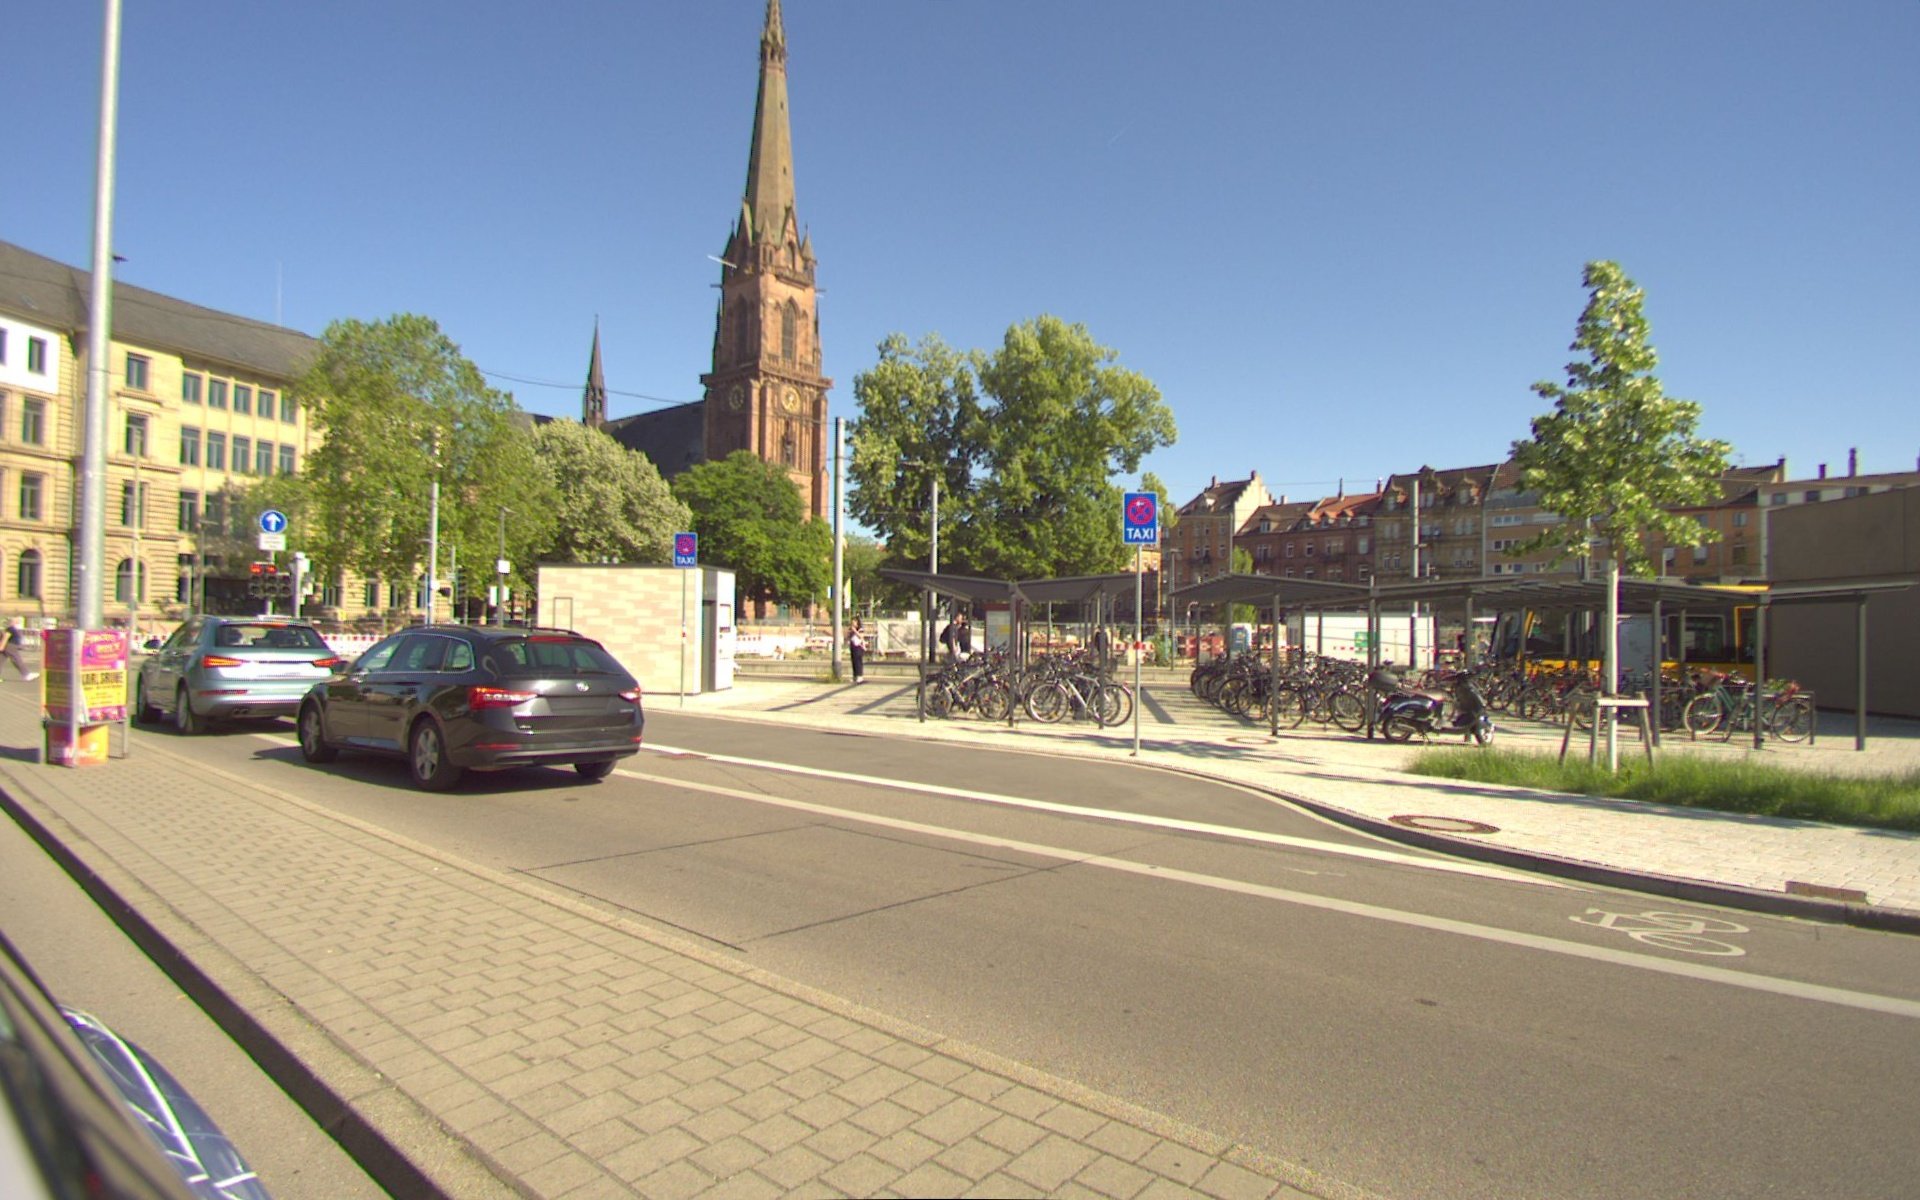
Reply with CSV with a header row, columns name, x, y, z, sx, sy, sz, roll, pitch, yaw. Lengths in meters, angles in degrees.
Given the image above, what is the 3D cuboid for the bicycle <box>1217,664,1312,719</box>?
name,x,y,z,sx,sy,sz,roll,pitch,yaw
bicycle,5.818,1.736,19.369,1.661,0.980,0.406,1,0,3

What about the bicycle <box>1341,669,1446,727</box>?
name,x,y,z,sx,sy,sz,roll,pitch,yaw
bicycle,7.647,1.724,17.885,1.661,0.980,0.406,-1,0,3

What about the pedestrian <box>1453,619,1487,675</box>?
name,x,y,z,sx,sy,sz,roll,pitch,yaw
pedestrian,17.772,1.619,35.294,0.793,1.931,0.769,0,-2,4

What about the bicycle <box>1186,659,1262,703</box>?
name,x,y,z,sx,sy,sz,roll,pitch,yaw
bicycle,6.141,1.880,23.617,1.661,0.980,0.406,1,-5,3

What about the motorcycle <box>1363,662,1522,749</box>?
name,x,y,z,sx,sy,sz,roll,pitch,yaw
motorcycle,7.197,1.569,15.153,2.059,1.228,0.569,-1,-2,3

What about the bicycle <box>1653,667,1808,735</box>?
name,x,y,z,sx,sy,sz,roll,pitch,yaw
bicycle,12.992,1.694,17.109,2.030,1.087,0.604,-1,0,7

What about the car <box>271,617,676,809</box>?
name,x,y,z,sx,sy,sz,roll,pitch,yaw
car,-5.085,0.992,10.251,4.779,1.516,1.795,-1,-4,39

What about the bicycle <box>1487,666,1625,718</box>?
name,x,y,z,sx,sy,sz,roll,pitch,yaw
bicycle,11.618,1.796,19.783,2.208,0.951,0.685,-1,0,7

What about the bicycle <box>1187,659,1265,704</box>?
name,x,y,z,sx,sy,sz,roll,pitch,yaw
bicycle,6.057,1.859,23.044,1.661,0.980,0.406,1,-5,3

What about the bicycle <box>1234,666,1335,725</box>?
name,x,y,z,sx,sy,sz,roll,pitch,yaw
bicycle,5.819,1.708,18.181,1.661,0.980,0.406,1,0,3

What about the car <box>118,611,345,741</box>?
name,x,y,z,sx,sy,sz,roll,pitch,yaw
car,-10.549,1.018,14.542,4.257,1.594,1.768,-1,-4,43

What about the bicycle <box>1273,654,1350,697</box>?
name,x,y,z,sx,sy,sz,roll,pitch,yaw
bicycle,8.295,1.783,23.908,1.661,0.980,0.406,-1,0,3

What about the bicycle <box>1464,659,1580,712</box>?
name,x,y,z,sx,sy,sz,roll,pitch,yaw
bicycle,11.780,1.793,21.258,2.048,1.045,0.533,-1,2,8

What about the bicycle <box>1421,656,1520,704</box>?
name,x,y,z,sx,sy,sz,roll,pitch,yaw
bicycle,12.304,1.917,24.422,2.048,1.045,0.533,1,3,8

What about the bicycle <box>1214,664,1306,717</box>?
name,x,y,z,sx,sy,sz,roll,pitch,yaw
bicycle,5.905,1.779,19.952,1.661,0.980,0.406,1,0,3

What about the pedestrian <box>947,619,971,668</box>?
name,x,y,z,sx,sy,sz,roll,pitch,yaw
pedestrian,-0.028,1.682,39.007,0.610,1.874,0.703,2,-2,-39

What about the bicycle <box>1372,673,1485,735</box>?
name,x,y,z,sx,sy,sz,roll,pitch,yaw
bicycle,7.771,1.722,16.814,1.661,0.980,0.406,-1,0,3

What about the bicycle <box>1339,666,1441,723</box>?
name,x,y,z,sx,sy,sz,roll,pitch,yaw
bicycle,7.827,1.721,18.453,1.661,0.980,0.406,-1,0,3

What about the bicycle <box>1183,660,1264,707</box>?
name,x,y,z,sx,sy,sz,roll,pitch,yaw
bicycle,5.790,1.836,22.289,1.661,0.980,0.406,1,-5,3

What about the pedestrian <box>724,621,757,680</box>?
name,x,y,z,sx,sy,sz,roll,pitch,yaw
pedestrian,-6.151,1.409,28.329,0.695,1.635,0.618,0,-2,12

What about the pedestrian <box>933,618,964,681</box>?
name,x,y,z,sx,sy,sz,roll,pitch,yaw
pedestrian,-0.315,1.391,28.521,0.823,1.740,0.620,0,-2,4

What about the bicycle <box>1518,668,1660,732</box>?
name,x,y,z,sx,sy,sz,roll,pitch,yaw
bicycle,10.935,1.737,17.638,2.048,1.045,0.533,-1,0,8

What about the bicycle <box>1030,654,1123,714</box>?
name,x,y,z,sx,sy,sz,roll,pitch,yaw
bicycle,2.239,1.619,19.576,1.755,1.083,0.406,1,0,6

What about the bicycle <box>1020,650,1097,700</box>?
name,x,y,z,sx,sy,sz,roll,pitch,yaw
bicycle,2.276,1.730,23.492,1.755,1.083,0.406,1,0,6

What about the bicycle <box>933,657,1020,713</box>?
name,x,y,z,sx,sy,sz,roll,pitch,yaw
bicycle,0.332,1.663,19.938,1.663,1.006,0.406,2,0,8

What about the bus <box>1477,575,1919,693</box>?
name,x,y,z,sx,sy,sz,roll,pitch,yaw
bus,22.298,0.932,28.600,13.462,3.095,2.859,0,-2,6

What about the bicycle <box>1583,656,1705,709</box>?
name,x,y,z,sx,sy,sz,roll,pitch,yaw
bicycle,14.082,1.694,20.870,2.048,1.045,0.533,-1,0,8

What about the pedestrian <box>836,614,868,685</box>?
name,x,y,z,sx,sy,sz,roll,pitch,yaw
pedestrian,-2.902,1.326,27.234,0.614,1.874,0.699,0,-2,14

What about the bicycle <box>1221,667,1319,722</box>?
name,x,y,z,sx,sy,sz,roll,pitch,yaw
bicycle,5.732,1.749,18.761,1.661,0.980,0.406,-1,0,3

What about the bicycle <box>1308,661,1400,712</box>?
name,x,y,z,sx,sy,sz,roll,pitch,yaw
bicycle,7.861,1.729,20.222,1.661,0.980,0.406,-1,0,3

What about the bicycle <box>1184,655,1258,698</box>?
name,x,y,z,sx,sy,sz,roll,pitch,yaw
bicycle,6.260,1.835,24.305,1.661,0.980,0.406,1,-5,3

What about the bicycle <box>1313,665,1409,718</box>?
name,x,y,z,sx,sy,sz,roll,pitch,yaw
bicycle,7.720,1.761,19.522,1.661,0.980,0.406,-1,0,3

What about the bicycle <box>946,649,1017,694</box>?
name,x,y,z,sx,sy,sz,roll,pitch,yaw
bicycle,0.521,1.701,24.181,1.663,1.006,0.406,0,0,8

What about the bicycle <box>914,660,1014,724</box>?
name,x,y,z,sx,sy,sz,roll,pitch,yaw
bicycle,0.071,1.573,17.376,1.663,1.006,0.406,2,0,8

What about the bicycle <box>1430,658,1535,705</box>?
name,x,y,z,sx,sy,sz,roll,pitch,yaw
bicycle,12.035,1.877,23.367,2.048,1.045,0.533,-1,-4,8

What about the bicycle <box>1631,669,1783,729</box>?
name,x,y,z,sx,sy,sz,roll,pitch,yaw
bicycle,13.483,1.783,18.323,2.117,1.005,0.690,-1,0,7

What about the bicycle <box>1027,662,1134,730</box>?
name,x,y,z,sx,sy,sz,roll,pitch,yaw
bicycle,2.026,1.605,17.086,1.753,1.083,0.406,1,-3,6

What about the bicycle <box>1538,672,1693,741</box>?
name,x,y,z,sx,sy,sz,roll,pitch,yaw
bicycle,10.576,1.709,16.382,2.048,1.045,0.533,-1,0,8

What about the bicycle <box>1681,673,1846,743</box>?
name,x,y,z,sx,sy,sz,roll,pitch,yaw
bicycle,12.771,1.713,16.131,2.048,1.045,0.533,-1,0,8

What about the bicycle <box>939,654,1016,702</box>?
name,x,y,z,sx,sy,sz,roll,pitch,yaw
bicycle,0.389,1.704,22.278,1.663,1.006,0.406,0,0,8

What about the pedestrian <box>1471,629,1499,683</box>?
name,x,y,z,sx,sy,sz,roll,pitch,yaw
pedestrian,20.096,2.127,38.768,0.793,2.029,0.535,0,-2,4

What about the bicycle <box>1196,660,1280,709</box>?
name,x,y,z,sx,sy,sz,roll,pitch,yaw
bicycle,5.929,1.804,21.633,1.661,0.980,0.406,1,-5,3

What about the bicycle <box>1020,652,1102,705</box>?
name,x,y,z,sx,sy,sz,roll,pitch,yaw
bicycle,2.197,1.693,22.022,1.755,1.083,0.406,1,0,6

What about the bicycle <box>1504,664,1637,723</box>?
name,x,y,z,sx,sy,sz,roll,pitch,yaw
bicycle,11.326,1.731,18.805,2.048,1.045,0.533,-1,0,8

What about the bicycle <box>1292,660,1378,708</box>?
name,x,y,z,sx,sy,sz,roll,pitch,yaw
bicycle,7.992,1.788,21.616,1.661,0.980,0.406,-1,0,3

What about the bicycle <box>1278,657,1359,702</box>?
name,x,y,z,sx,sy,sz,roll,pitch,yaw
bicycle,8.077,1.787,22.831,1.661,0.980,0.406,-1,0,3

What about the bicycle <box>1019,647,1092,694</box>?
name,x,y,z,sx,sy,sz,roll,pitch,yaw
bicycle,2.318,1.723,24.671,1.755,1.083,0.406,1,0,6

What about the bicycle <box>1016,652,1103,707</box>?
name,x,y,z,sx,sy,sz,roll,pitch,yaw
bicycle,2.056,1.642,20.966,1.755,1.083,0.406,1,0,6

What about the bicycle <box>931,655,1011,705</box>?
name,x,y,z,sx,sy,sz,roll,pitch,yaw
bicycle,0.233,1.675,21.398,1.663,1.006,0.406,0,0,8

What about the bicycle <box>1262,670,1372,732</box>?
name,x,y,z,sx,sy,sz,roll,pitch,yaw
bicycle,5.937,1.684,16.883,1.661,0.980,0.406,-1,0,3

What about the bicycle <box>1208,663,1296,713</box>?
name,x,y,z,sx,sy,sz,roll,pitch,yaw
bicycle,5.929,1.784,20.557,1.661,0.980,0.406,1,-5,3

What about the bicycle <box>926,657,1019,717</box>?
name,x,y,z,sx,sy,sz,roll,pitch,yaw
bicycle,0.235,1.596,18.595,1.663,1.006,0.406,2,0,8

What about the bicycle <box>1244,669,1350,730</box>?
name,x,y,z,sx,sy,sz,roll,pitch,yaw
bicycle,5.797,1.708,17.456,1.661,0.980,0.406,1,0,3

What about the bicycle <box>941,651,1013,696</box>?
name,x,y,z,sx,sy,sz,roll,pitch,yaw
bicycle,0.397,1.701,23.656,1.663,1.006,0.406,0,0,8

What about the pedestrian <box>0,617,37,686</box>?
name,x,y,z,sx,sy,sz,roll,pitch,yaw
pedestrian,-23.678,1.272,25.201,0.630,1.680,0.920,-1,-2,39

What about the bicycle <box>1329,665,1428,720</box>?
name,x,y,z,sx,sy,sz,roll,pitch,yaw
bicycle,7.846,1.729,19.006,1.661,0.980,0.406,-1,0,3

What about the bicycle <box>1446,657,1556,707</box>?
name,x,y,z,sx,sy,sz,roll,pitch,yaw
bicycle,11.870,1.799,22.249,2.048,1.045,0.533,-1,2,8

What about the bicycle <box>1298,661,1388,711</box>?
name,x,y,z,sx,sy,sz,roll,pitch,yaw
bicycle,7.865,1.759,20.819,1.661,0.980,0.406,-1,0,3

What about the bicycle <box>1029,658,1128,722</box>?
name,x,y,z,sx,sy,sz,roll,pitch,yaw
bicycle,2.143,1.616,18.330,1.753,1.083,0.406,1,0,6
